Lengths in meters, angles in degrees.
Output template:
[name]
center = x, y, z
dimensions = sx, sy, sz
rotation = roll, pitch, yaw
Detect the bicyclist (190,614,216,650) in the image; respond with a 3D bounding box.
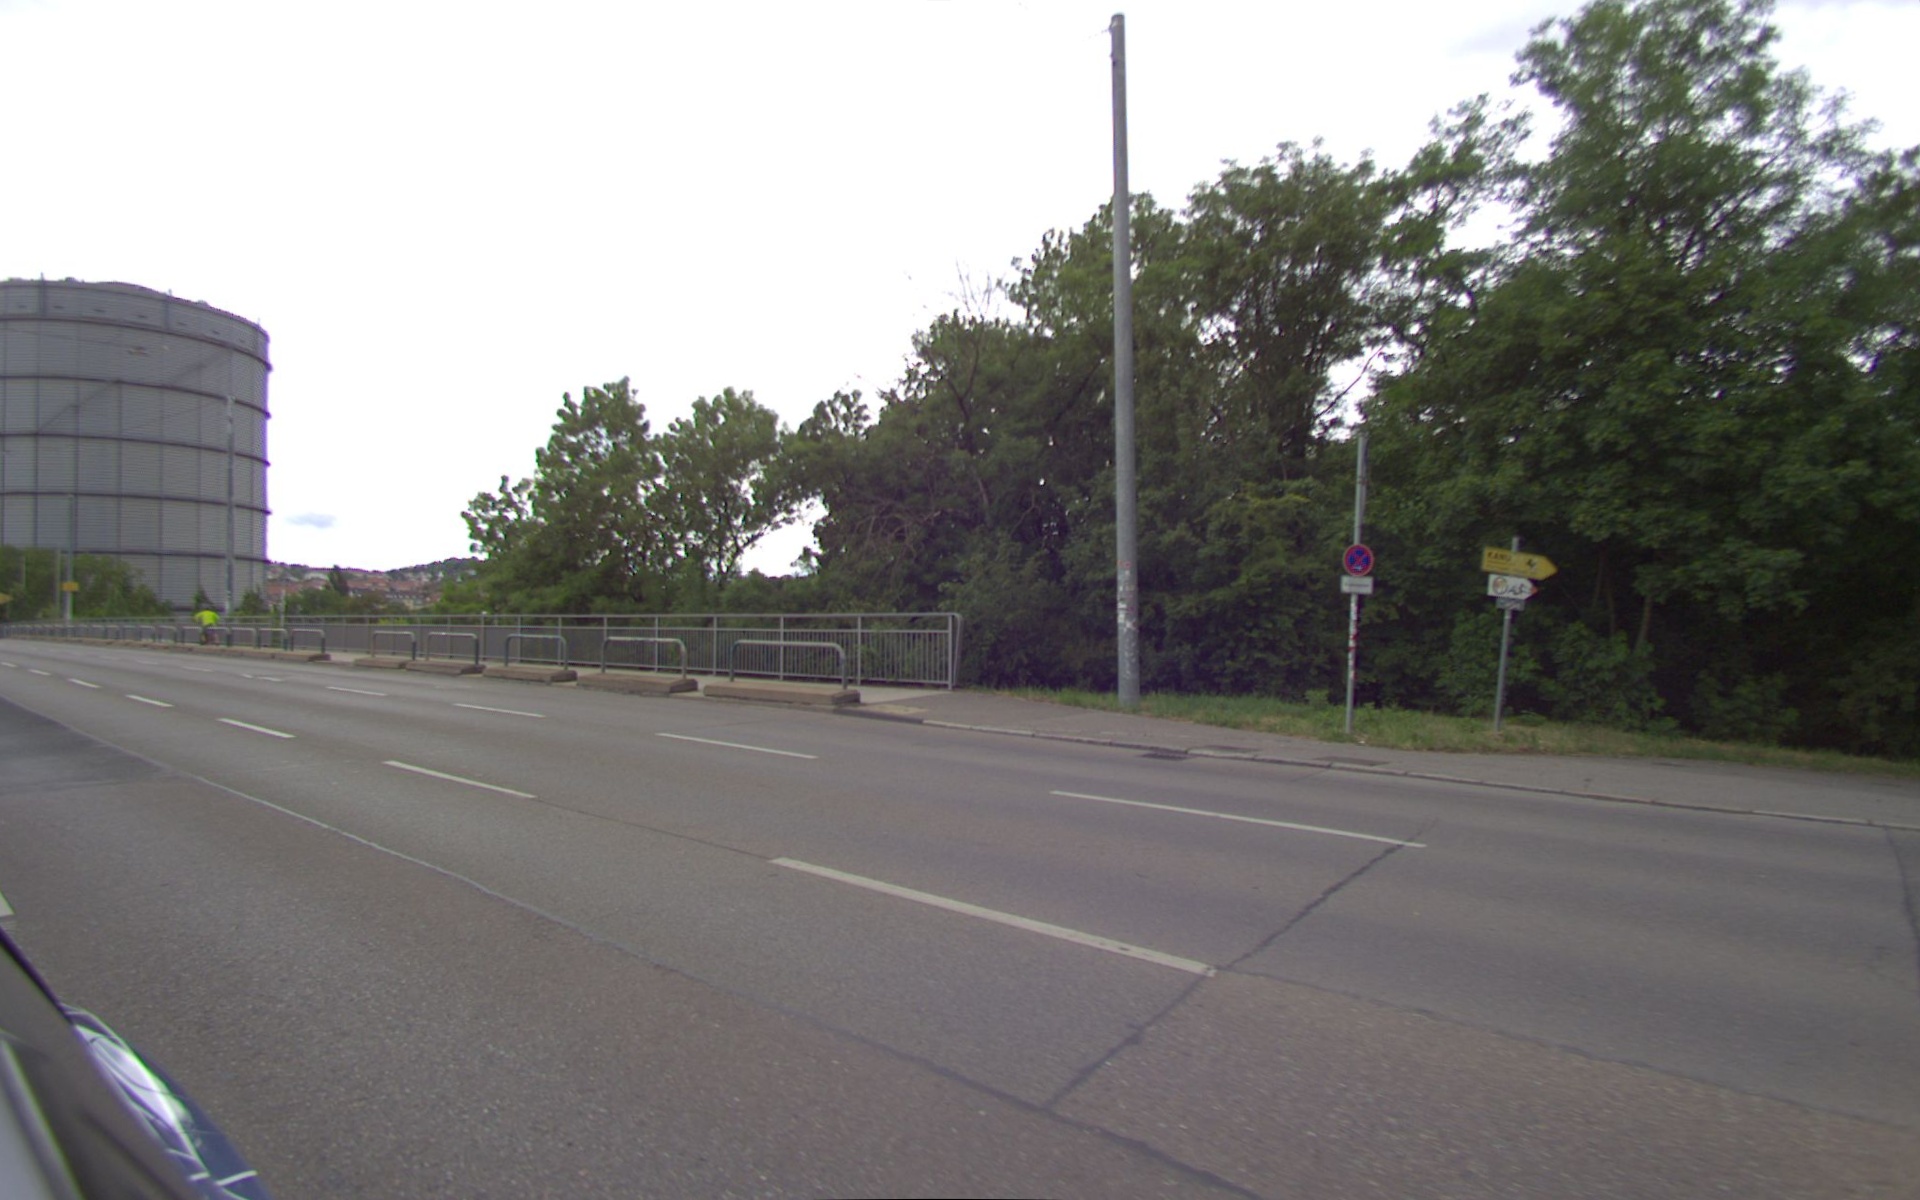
[bicyclist]
center = -32.596, 1.376, 43.566
dimensions = 0.670, 1.486, 0.620
rotation = -1, 6, 43

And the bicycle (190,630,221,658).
[bicycle]
center = -32.509, 1.885, 43.593
dimensions = 1.983, 1.071, 0.628
rotation = -1, 6, 44

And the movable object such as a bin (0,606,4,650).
[movable object such as a bin]
center = -77.121, 2.083, 78.470
dimensions = 9.354, 3.348, 3.419
rotation = -1, -3, 41
